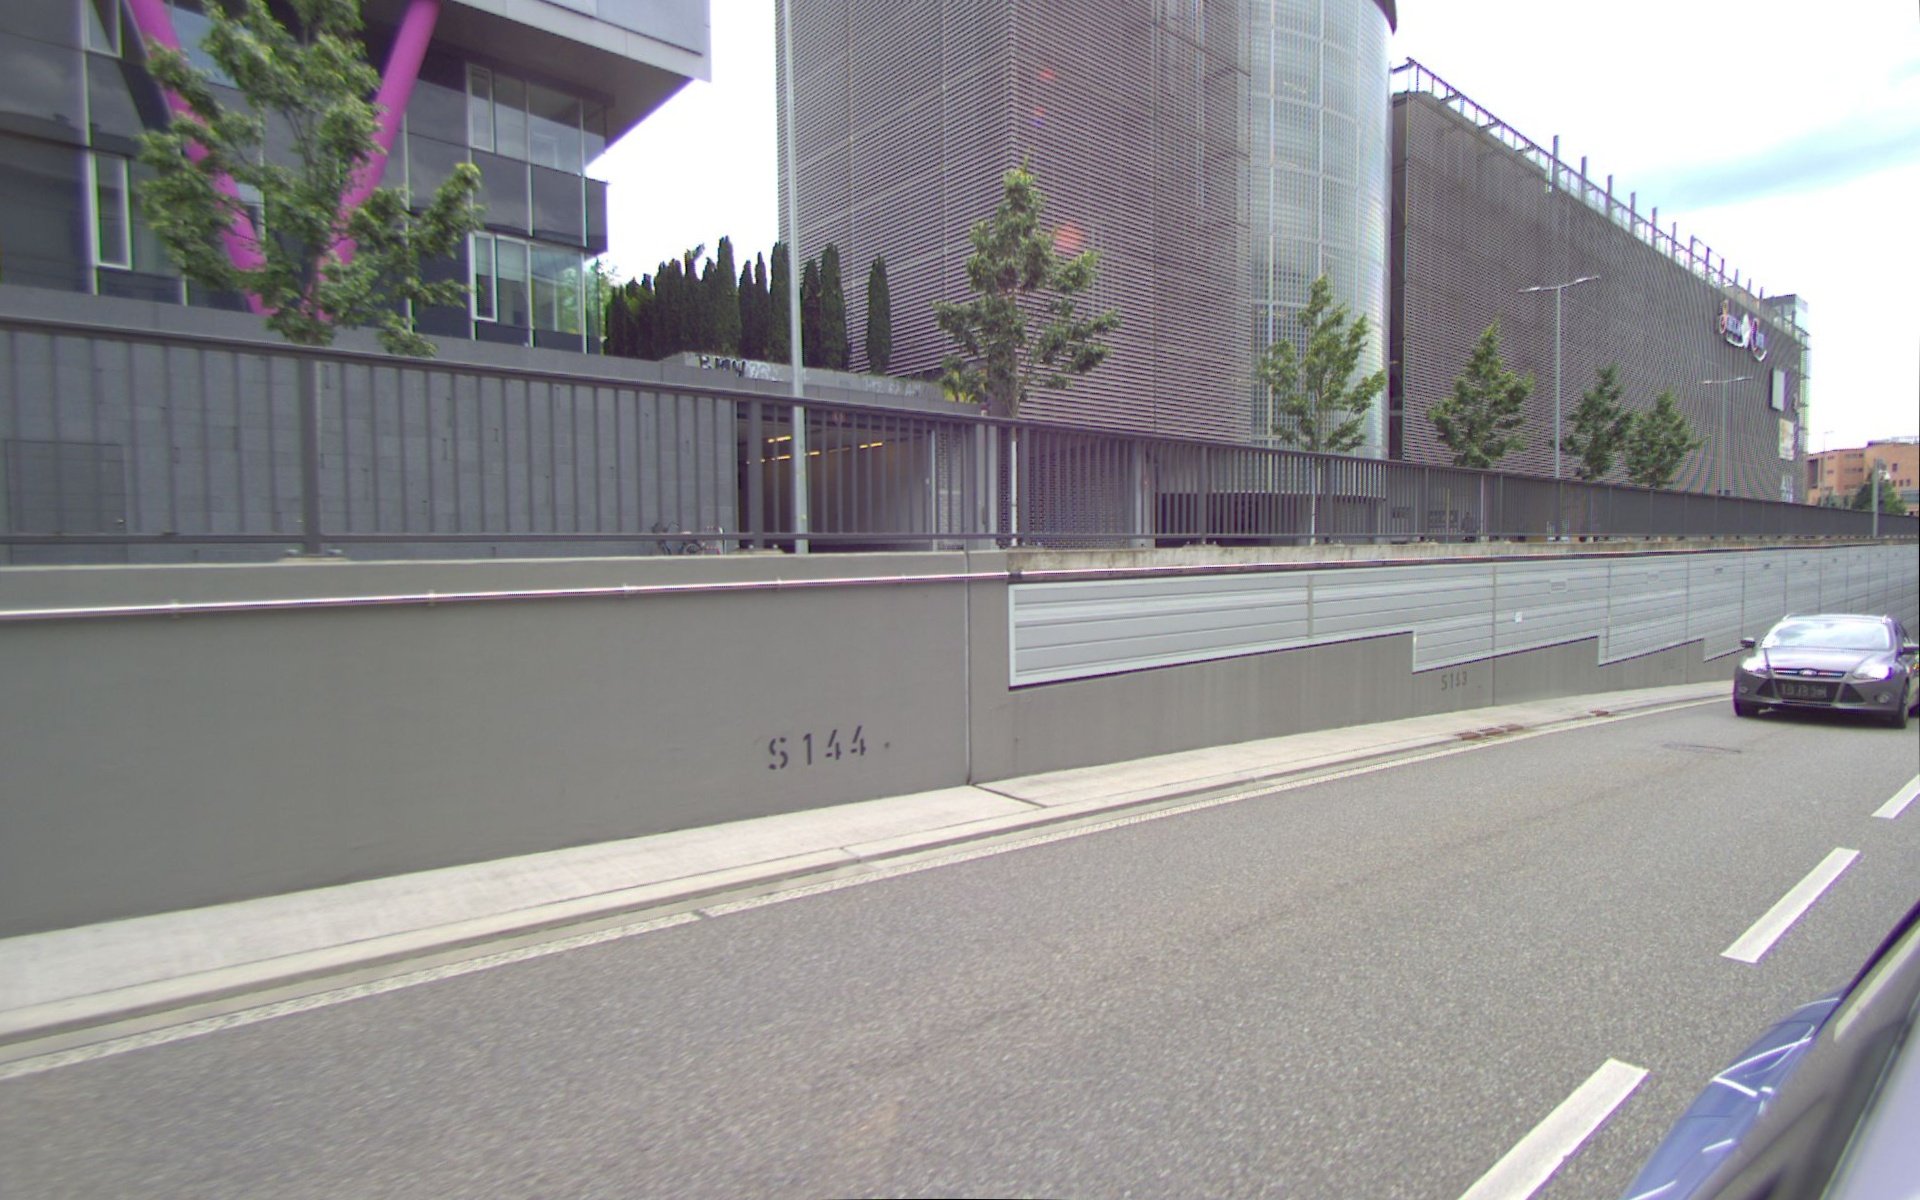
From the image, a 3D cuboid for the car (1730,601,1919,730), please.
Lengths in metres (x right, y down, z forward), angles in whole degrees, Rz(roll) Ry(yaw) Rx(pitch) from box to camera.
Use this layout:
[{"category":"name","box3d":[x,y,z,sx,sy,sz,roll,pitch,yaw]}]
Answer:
[{"category":"car","box3d":[12.570,0.806,14.376,4.193,1.518,1.751,0,1,-41]}]
